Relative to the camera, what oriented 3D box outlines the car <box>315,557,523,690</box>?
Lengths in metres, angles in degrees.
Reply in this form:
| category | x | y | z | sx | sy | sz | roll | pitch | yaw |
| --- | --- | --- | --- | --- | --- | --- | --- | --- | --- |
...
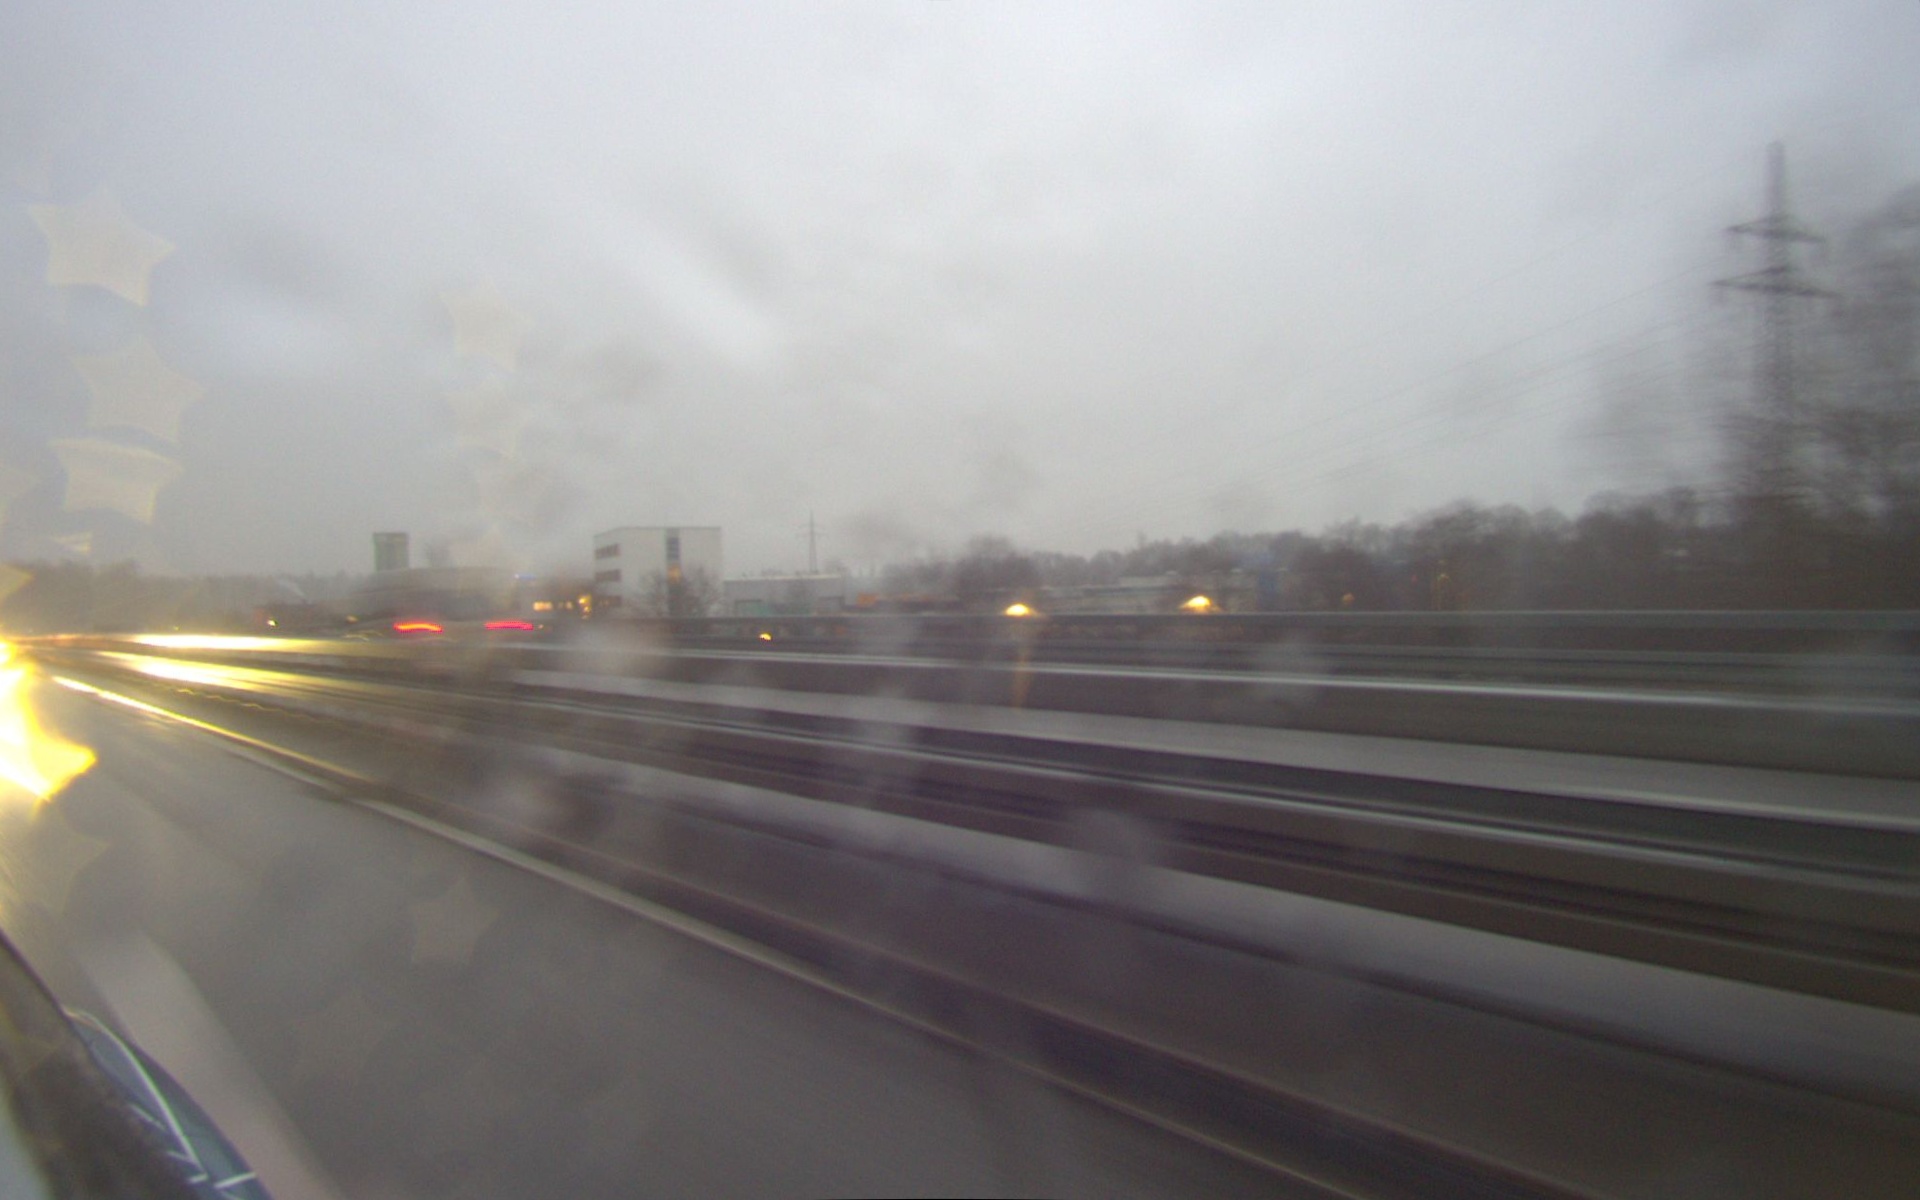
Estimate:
| category | x | y | z | sx | sy | sz | roll | pitch | yaw |
| --- | --- | --- | --- | --- | --- | --- | --- | --- | --- |
| car | -10.756 | 0.414 | 19.922 | 5.207 | 2.280 | 2.027 | 0 | 0 | 43 |
